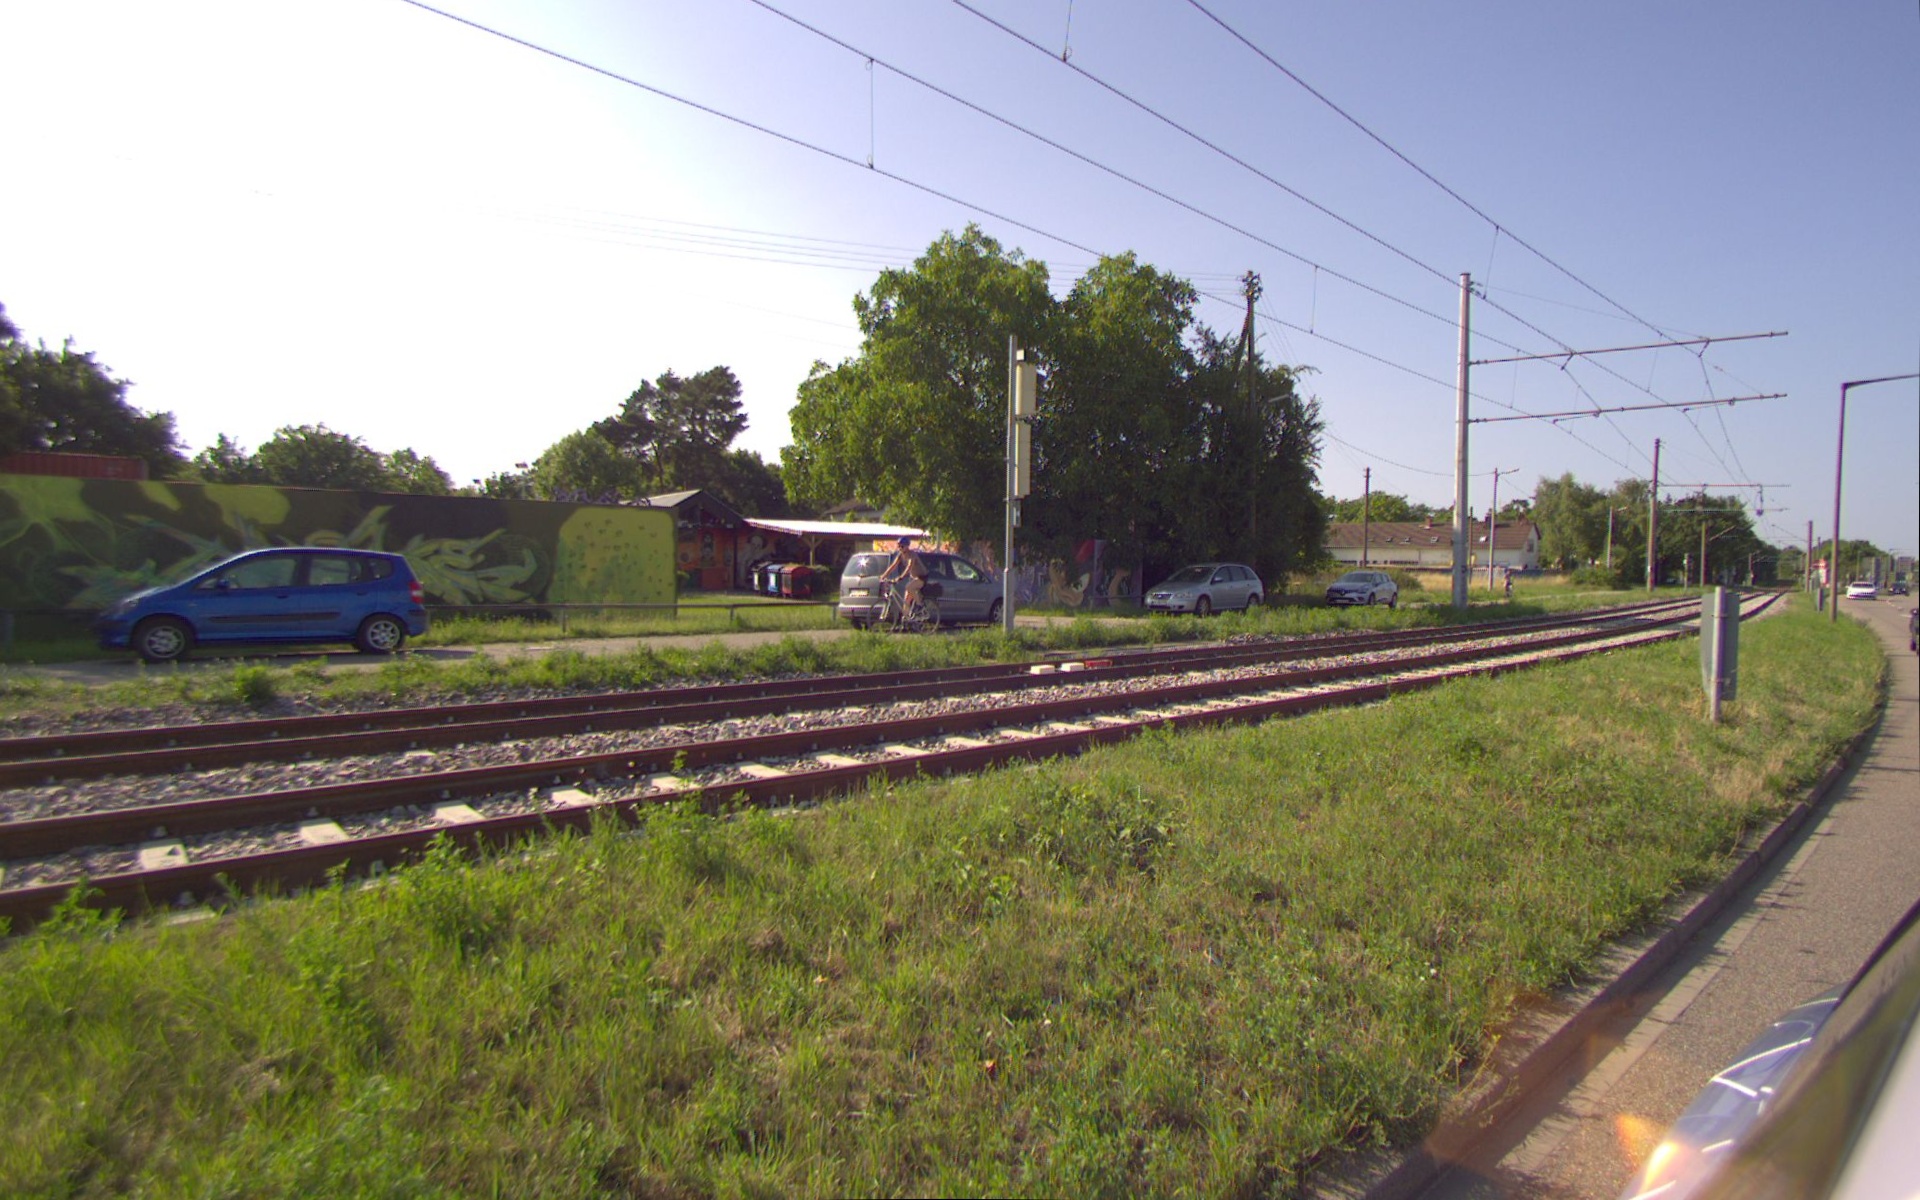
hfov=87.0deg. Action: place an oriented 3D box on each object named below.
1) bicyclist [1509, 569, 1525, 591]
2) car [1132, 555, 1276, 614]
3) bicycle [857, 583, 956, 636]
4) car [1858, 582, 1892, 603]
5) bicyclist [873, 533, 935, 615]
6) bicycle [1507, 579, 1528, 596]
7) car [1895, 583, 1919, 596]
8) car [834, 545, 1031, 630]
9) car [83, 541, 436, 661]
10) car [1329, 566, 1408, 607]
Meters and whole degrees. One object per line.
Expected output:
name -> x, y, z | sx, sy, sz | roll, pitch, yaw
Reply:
bicyclist -> 31.736, -1.154, 57.634 | 0.639, 1.248, 0.779 | 1, 1, 44
car -> 7.392, -0.475, 30.408 | 4.646, 1.610, 1.910 | 0, 3, -42
bicycle -> -0.955, 0.153, 18.411 | 1.813, 0.921, 0.643 | -1, 1, -43
car -> 72.518, -0.610, 80.235 | 1.962, 1.639, 4.242 | 2, 2, 42
bicyclist -> -1.011, -0.476, 18.351 | 0.946, 1.440, 0.630 | 0, 1, -43
bicycle -> 31.782, -0.717, 57.691 | 0.643, 0.921, 1.785 | 1, 1, 43
car -> 112.095, -1.282, 119.788 | 1.830, 1.532, 4.093 | 0, 0, 40
car -> -0.475, -0.293, 21.526 | 1.522, 1.630, 4.414 | 3, 3, 43
car -> -9.541, 0.004, 14.013 | 3.840, 1.448, 1.682 | 0, 0, -38
car -> 15.776, -0.541, 39.008 | 1.533, 1.466, 4.069 | 3, 3, 41
